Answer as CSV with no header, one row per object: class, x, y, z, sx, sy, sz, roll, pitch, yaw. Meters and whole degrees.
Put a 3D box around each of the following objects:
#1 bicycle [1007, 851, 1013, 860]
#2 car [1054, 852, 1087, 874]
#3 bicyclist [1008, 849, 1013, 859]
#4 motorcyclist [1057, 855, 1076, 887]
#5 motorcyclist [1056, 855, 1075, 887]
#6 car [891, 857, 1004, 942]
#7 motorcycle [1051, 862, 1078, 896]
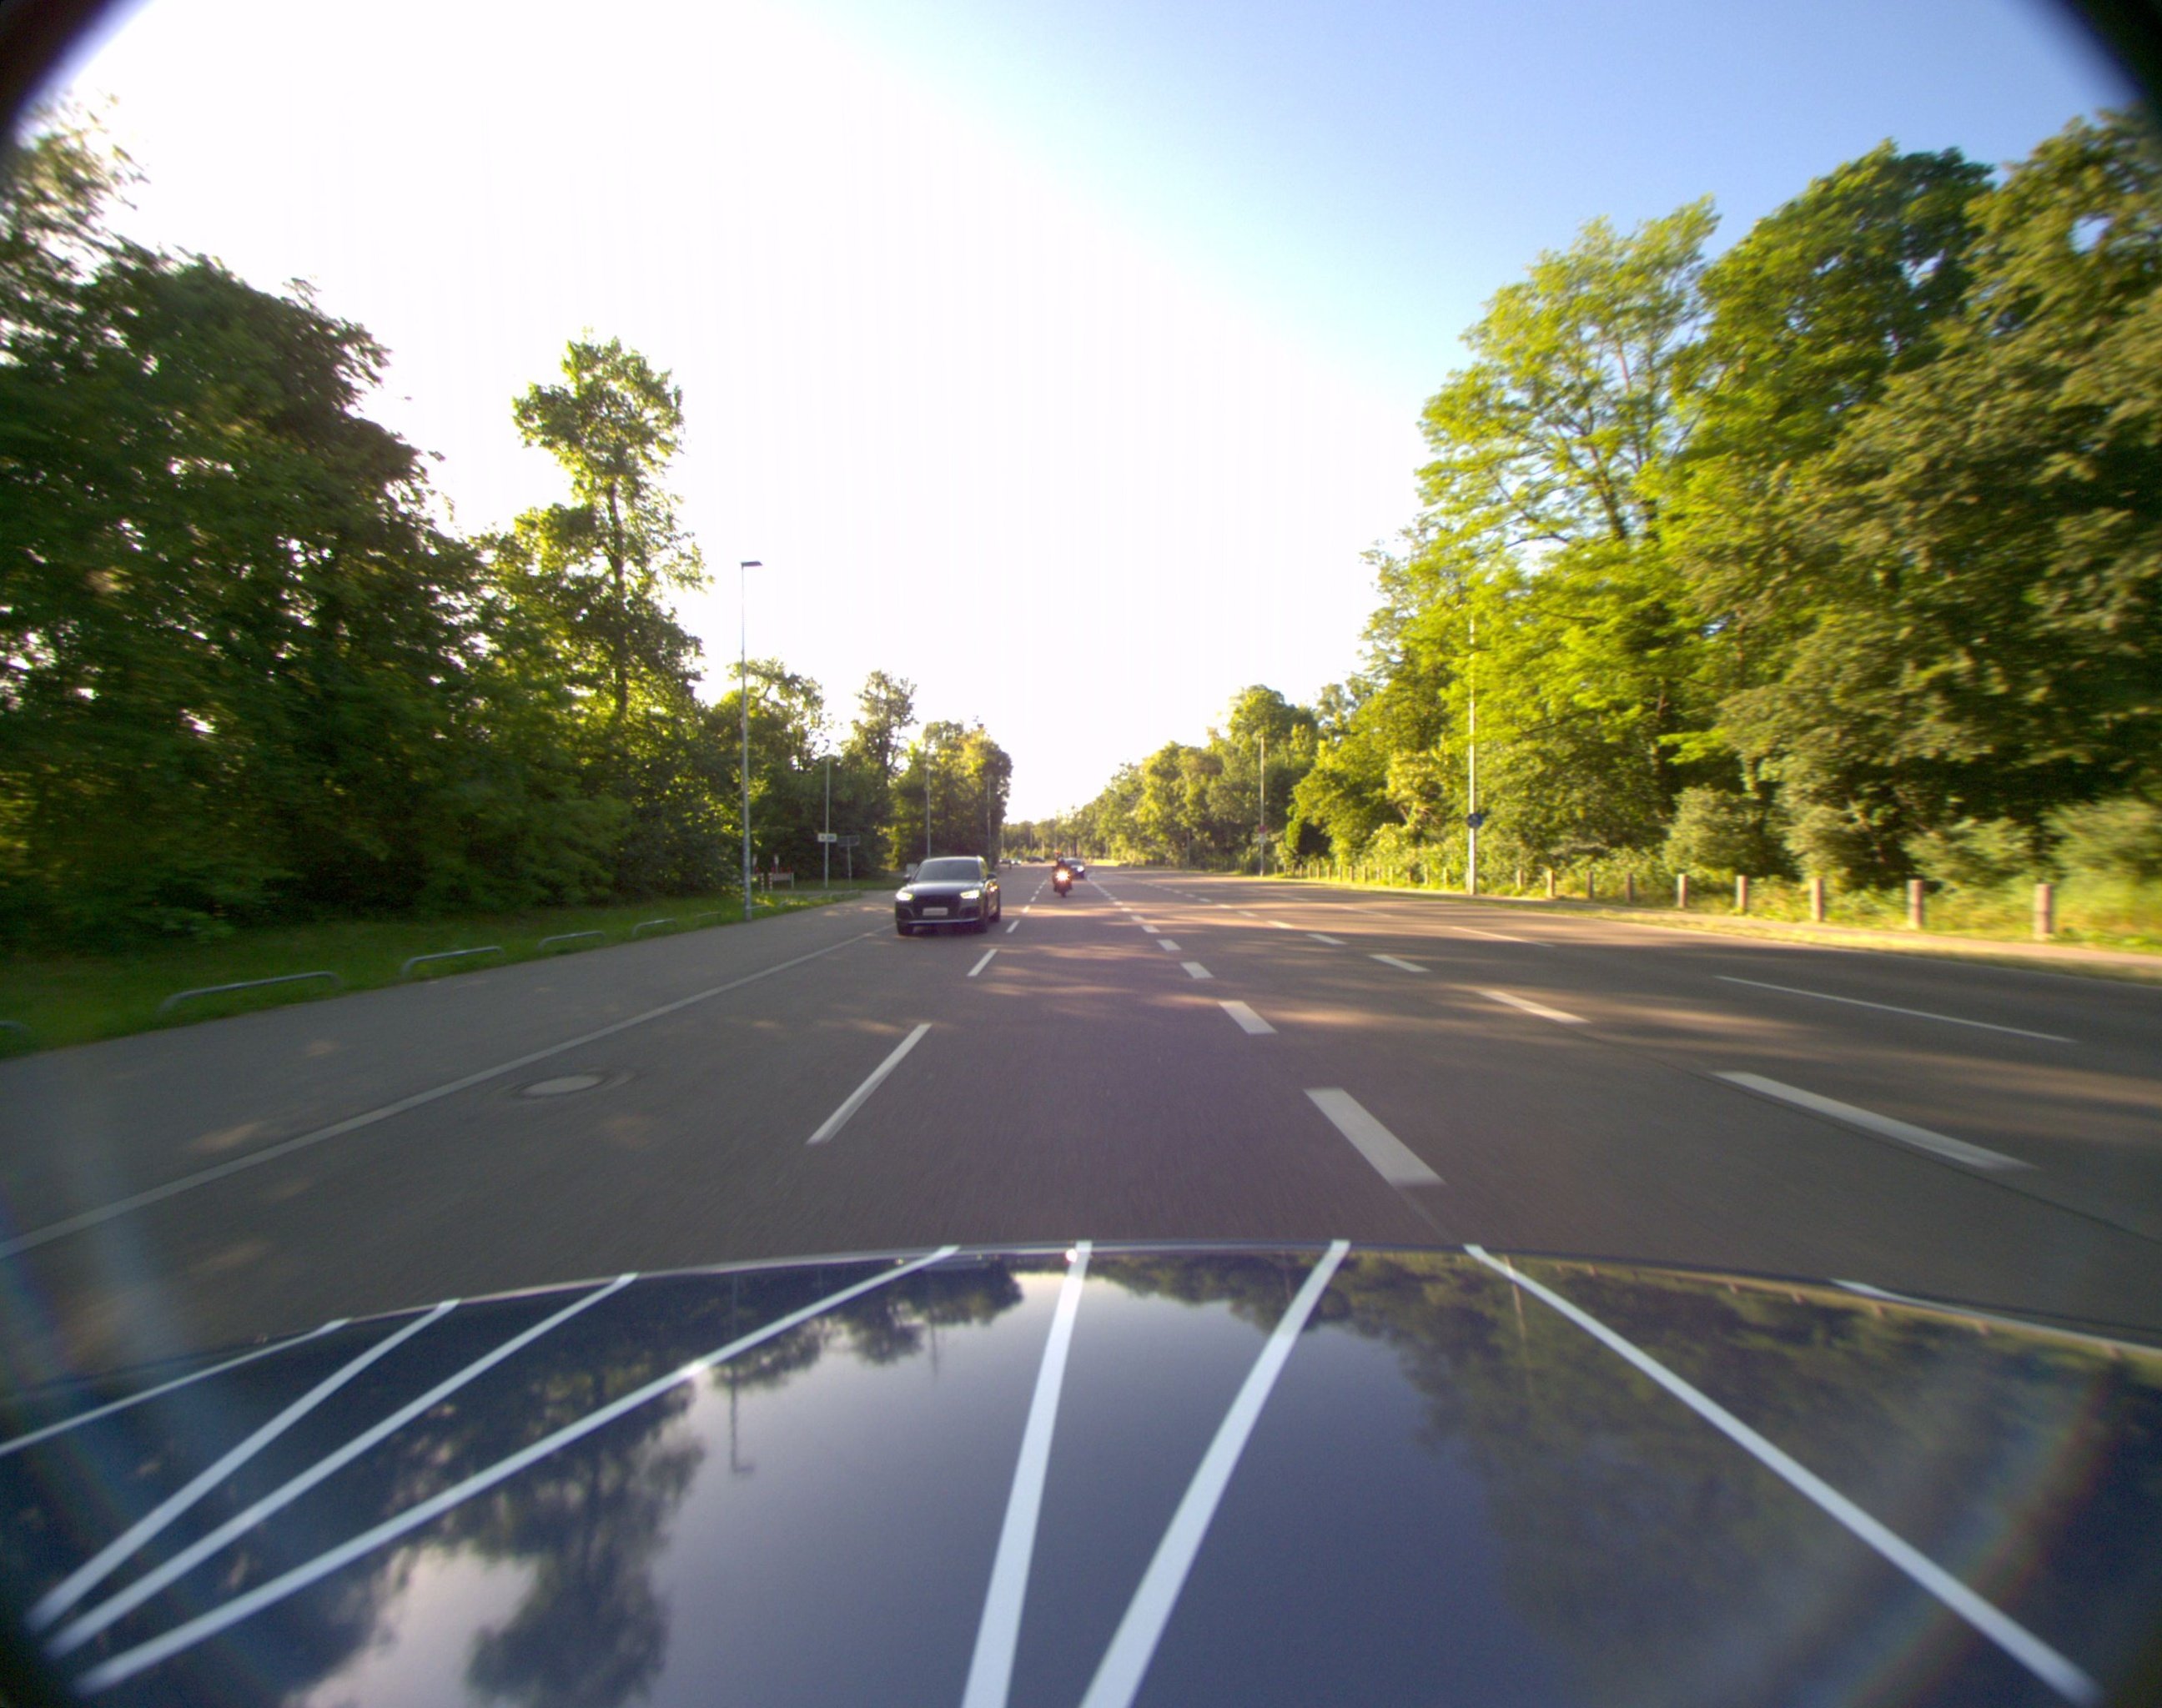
bicycle,-9.943,0.219,106.608,0.556,1.130,1.862,2,0,-13
car,-0.815,0.636,57.080,1.868,1.538,4.792,-1,0,-8
bicyclist,-9.959,0.023,106.694,0.522,1.460,0.860,2,0,-13
motorcyclist,-0.601,0.685,31.695,0.671,1.257,0.825,-4,1,0
motorcyclist,-0.620,0.688,30.811,0.671,1.257,0.825,-3,1,0
car,-2.914,0.932,17.574,1.898,1.596,4.543,-2,0,-2
motorcycle,-0.636,0.985,30.968,0.916,1.243,2.962,-4,0,0
